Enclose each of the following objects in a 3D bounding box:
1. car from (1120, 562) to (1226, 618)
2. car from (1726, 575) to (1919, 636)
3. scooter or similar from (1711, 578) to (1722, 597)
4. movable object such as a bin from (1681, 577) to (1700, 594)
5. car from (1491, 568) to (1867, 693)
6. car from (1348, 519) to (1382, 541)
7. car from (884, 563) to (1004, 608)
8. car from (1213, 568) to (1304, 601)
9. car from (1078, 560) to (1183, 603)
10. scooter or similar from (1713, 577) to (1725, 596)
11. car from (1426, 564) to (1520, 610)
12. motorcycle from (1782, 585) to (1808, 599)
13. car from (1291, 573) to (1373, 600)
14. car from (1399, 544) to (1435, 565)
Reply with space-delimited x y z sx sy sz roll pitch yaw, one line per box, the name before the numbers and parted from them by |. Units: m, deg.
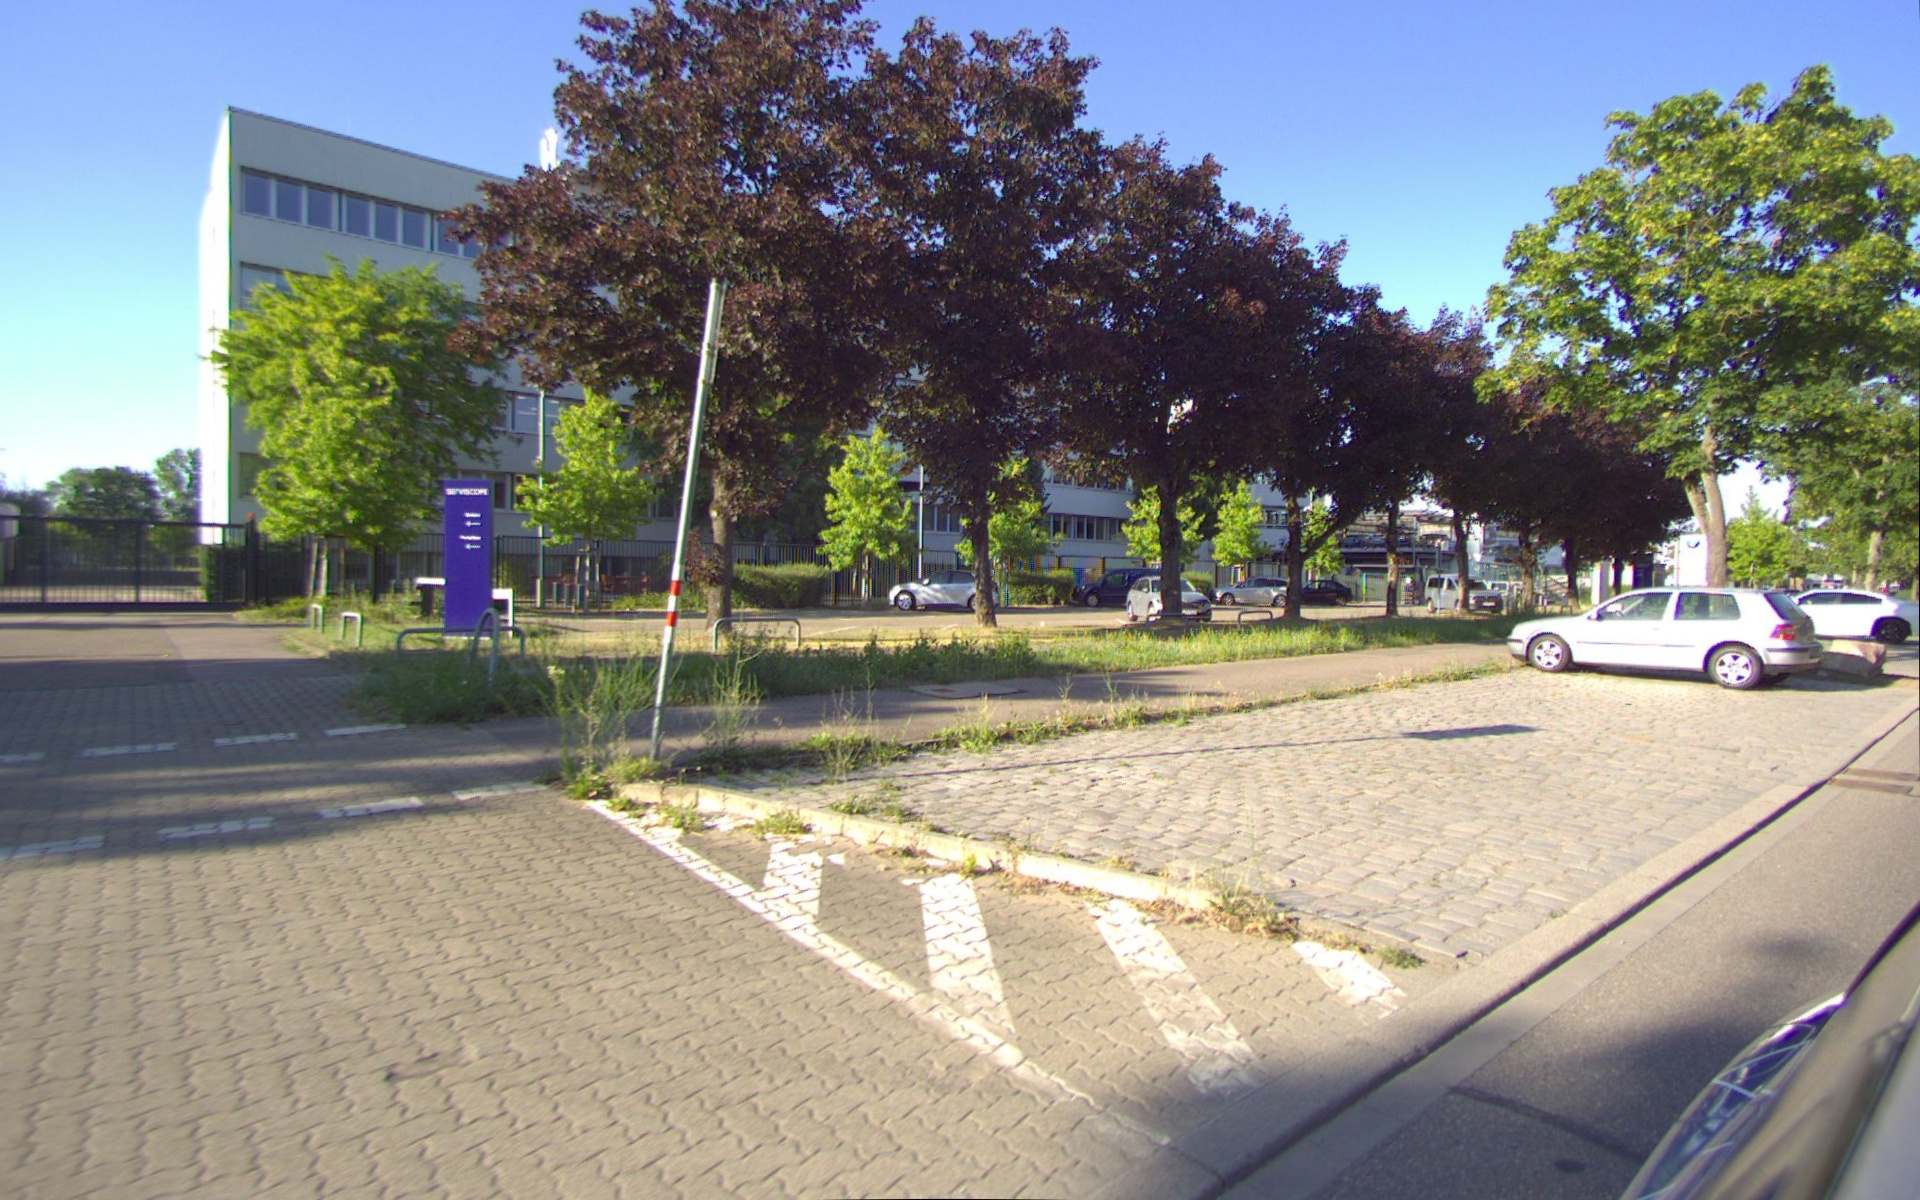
car | 6.546 -0.361 31.739 1.960 1.593 4.959 1 2 -4
car | 25.655 0.120 29.416 5.178 1.593 2.123 3 2 45
scooter or similar | 52.786 -0.855 70.630 0.519 1.288 1.183 2 2 41
movable object such as a bin | 60.861 -1.226 84.355 1.016 1.434 0.850 0 0 -22
car | 11.092 0.345 15.955 1.961 1.496 4.377 -1 4 -33
car | 45.409 -7.841 113.370 4.130 2.128 1.996 0 -1 -43
car | -0.569 -0.557 37.791 4.232 1.546 1.764 1 1 8
car | 15.192 -0.811 51.643 4.244 1.547 1.802 1 2 11
car | 7.531 -0.820 45.003 4.417 1.771 1.765 1 1 6
scooter or similar | 52.047 -0.946 69.372 0.519 1.288 1.367 2 2 41
car | 23.242 -0.576 46.100 1.964 1.958 4.950 1 1 3
motorcycle | 97.519 -0.940 118.204 2.104 1.484 0.943 2 1 21
car | 20.603 -0.760 56.145 3.931 1.371 1.804 1 2 7
car | 49.218 -4.860 108.965 4.130 2.128 1.996 0 -1 -43
